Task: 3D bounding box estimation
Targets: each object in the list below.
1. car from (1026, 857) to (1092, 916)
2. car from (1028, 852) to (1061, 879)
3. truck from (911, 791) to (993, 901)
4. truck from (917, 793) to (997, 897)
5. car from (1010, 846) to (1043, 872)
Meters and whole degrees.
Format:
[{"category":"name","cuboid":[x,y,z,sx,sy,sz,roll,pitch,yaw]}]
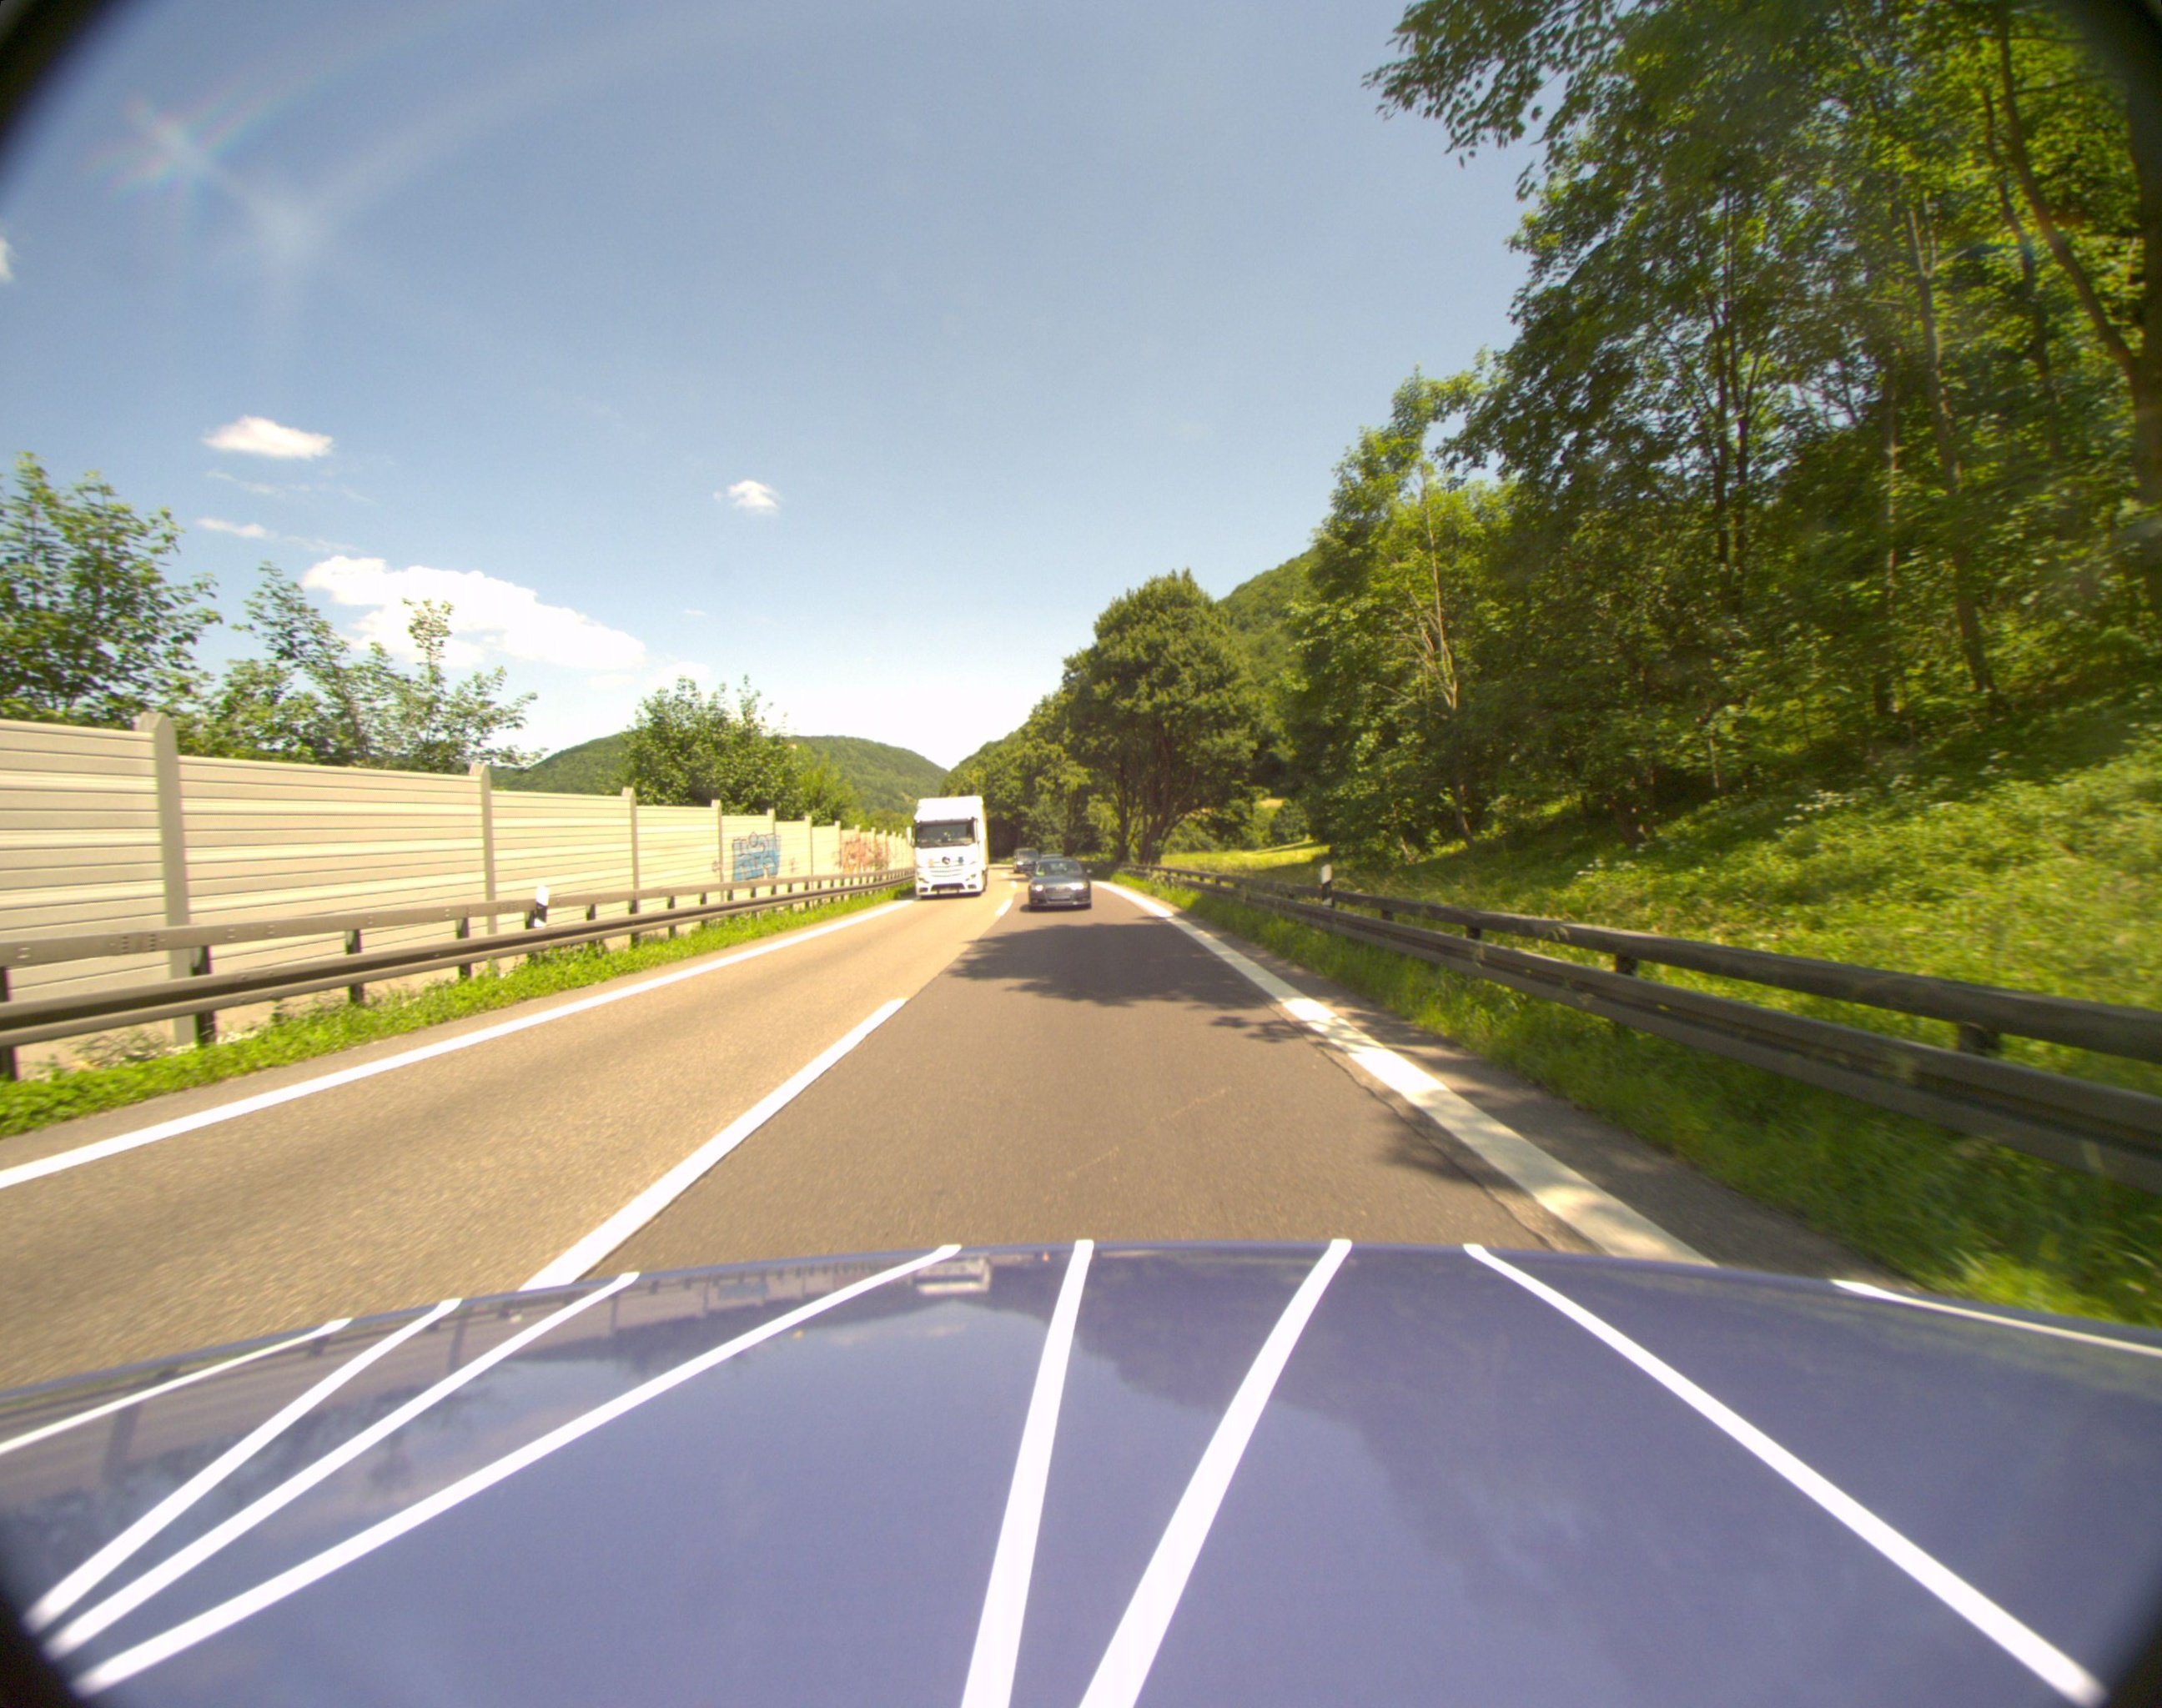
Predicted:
[{"category":"car","cuboid":[-0.598,0.844,21.364,1.662,1.435,3.474,-2,0,-1]},{"category":"car","cuboid":[-2.229,0.654,45.550,1.716,1.541,3.997,-1,1,-7]},{"category":"truck","cuboid":[-5.281,-0.349,32.170,2.765,4.016,6.818,-4,1,-6]},{"category":"truck","cuboid":[-5.727,-0.427,37.039,2.863,4.124,12.039,-3,1,-6]},{"category":"car","cuboid":[-4.284,0.380,59.544,2.045,1.855,3.996,-2,0,-11]}]
